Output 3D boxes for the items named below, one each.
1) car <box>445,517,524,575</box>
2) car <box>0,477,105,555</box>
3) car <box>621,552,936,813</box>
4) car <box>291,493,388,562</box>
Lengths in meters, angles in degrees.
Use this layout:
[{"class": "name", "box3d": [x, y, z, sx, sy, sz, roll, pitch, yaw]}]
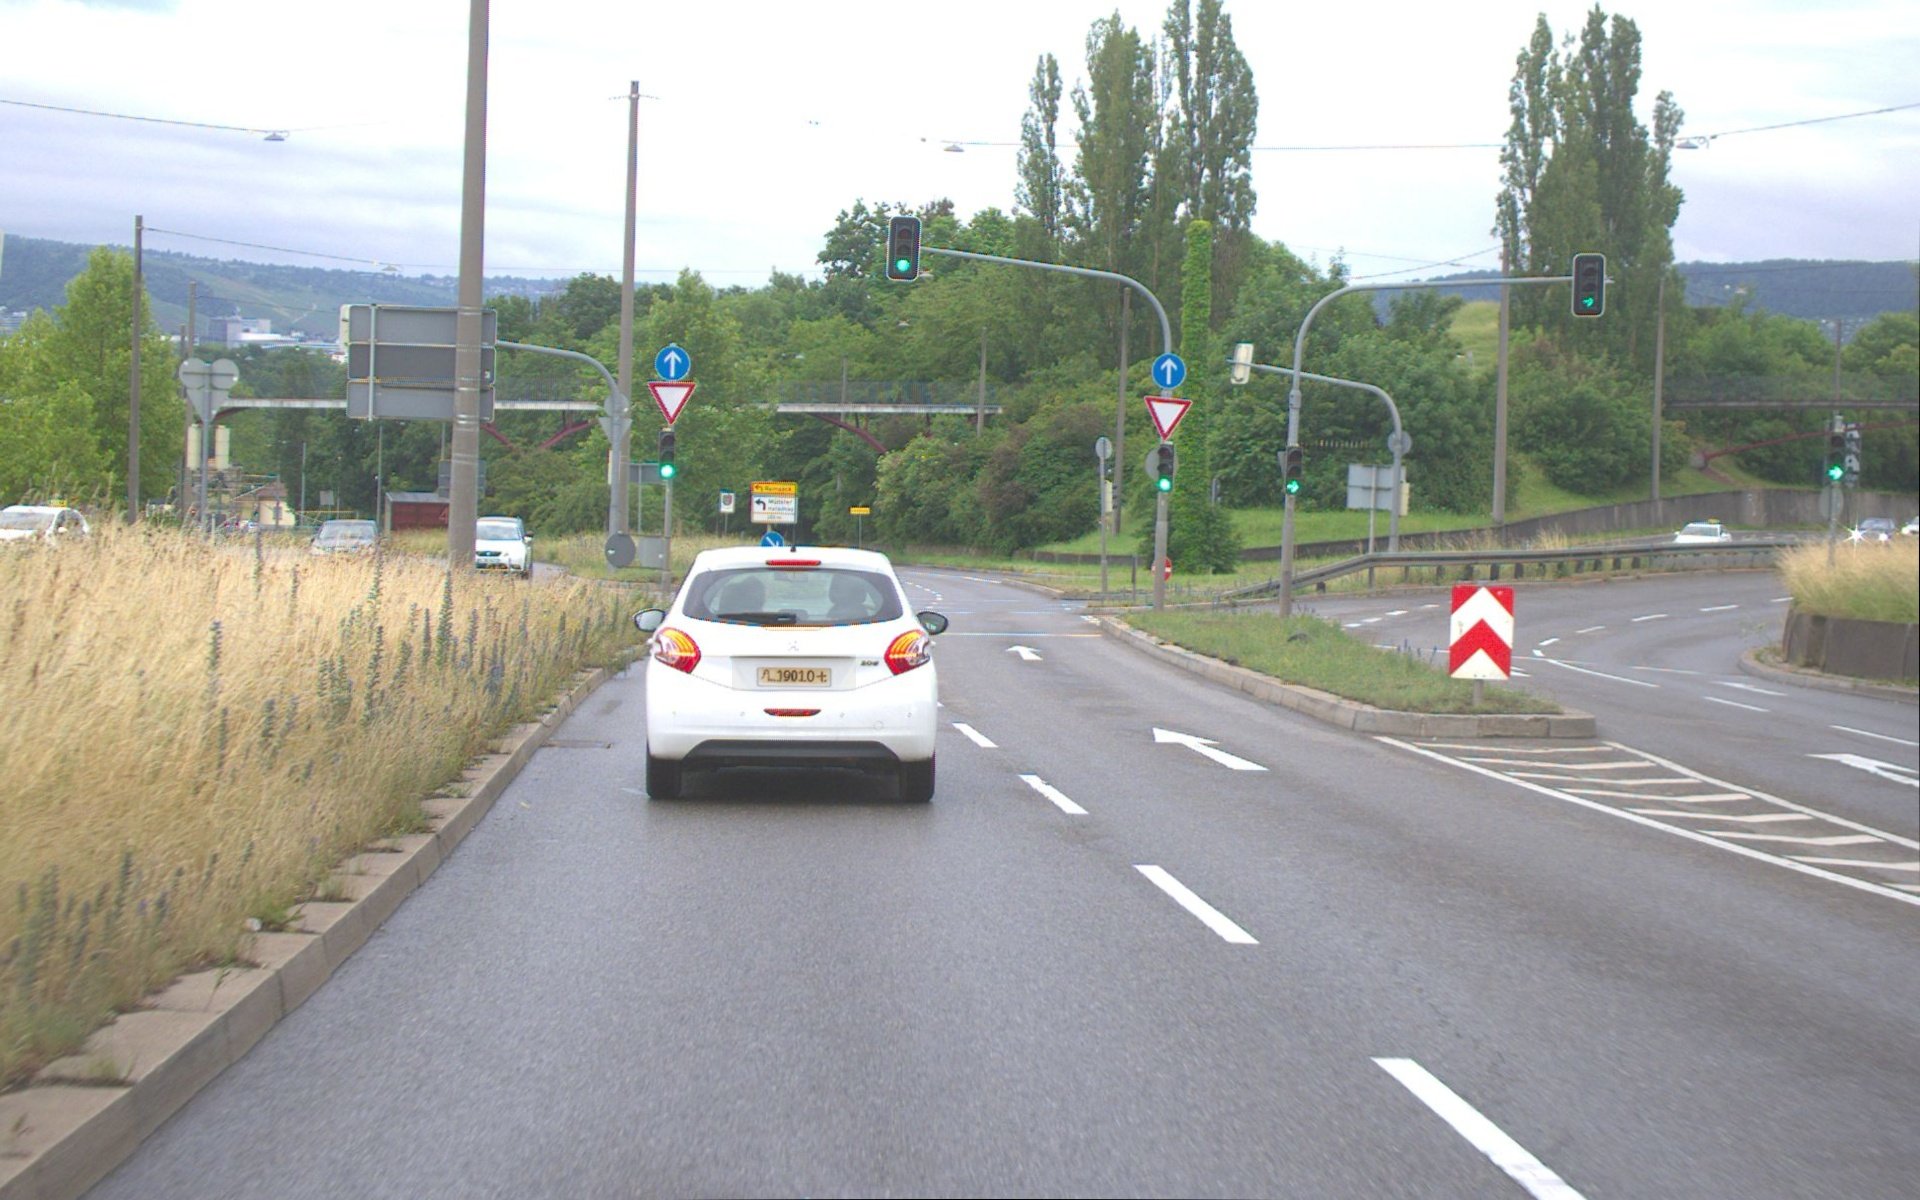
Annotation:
[{"class": "car", "box3d": [-11.847, -1.337, 85.870, 1.737, 1.368, 4.001, 2, 0, -5]}, {"class": "car", "box3d": [-20.767, -1.874, 77.142, 1.885, 1.606, 4.676, 2, 0, 1]}, {"class": "car", "box3d": [-1.022, 0.447, 20.951, 1.708, 1.435, 3.690, 1, 0, 0]}, {"class": "car", "box3d": [-15.014, -1.744, 83.363, 1.895, 1.532, 4.001, 2, 0, -5]}]
